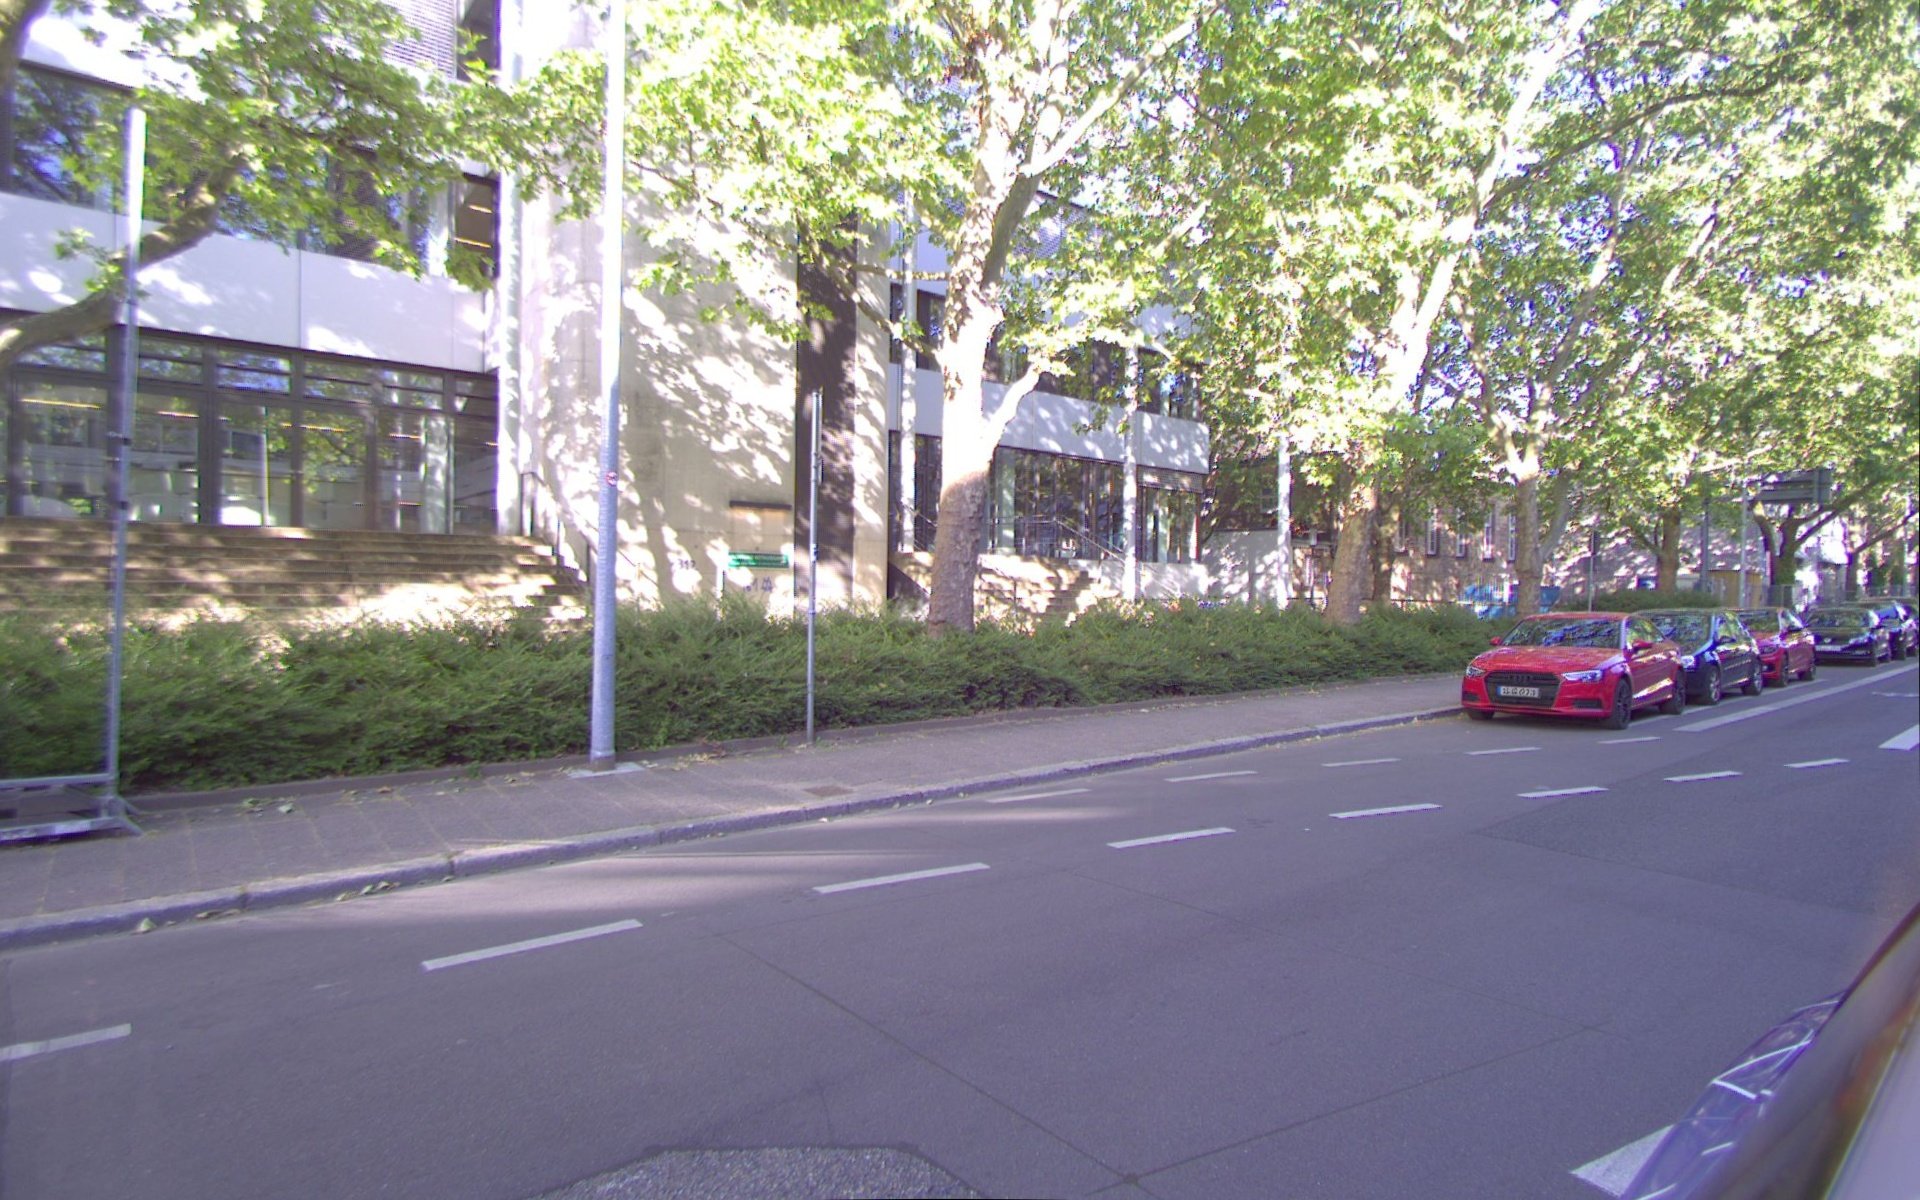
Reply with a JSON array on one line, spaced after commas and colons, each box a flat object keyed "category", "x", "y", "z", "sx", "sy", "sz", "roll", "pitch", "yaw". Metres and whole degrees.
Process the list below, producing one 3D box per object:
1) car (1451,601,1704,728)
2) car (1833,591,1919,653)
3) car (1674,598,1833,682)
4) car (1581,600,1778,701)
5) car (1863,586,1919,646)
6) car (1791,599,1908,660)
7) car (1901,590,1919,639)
[{"category": "car", "x": 8.283, "y": 0.745, "z": 13.456, "sx": 3.930, "sy": 1.427, "sz": 1.753, "roll": 0, "pitch": -1, "yaw": -41}, {"category": "car", "x": 26.720, "y": 0.594, "z": 29.187, "sx": 4.101, "sy": 1.674, "sz": 1.753, "roll": 0, "pitch": -1, "yaw": -41}, {"category": "car", "x": 15.708, "y": 0.727, "z": 19.975, "sx": 3.841, "sy": 1.486, "sz": 1.753, "roll": 0, "pitch": -1, "yaw": -41}, {"category": "car", "x": 11.857, "y": 0.744, "z": 16.599, "sx": 3.841, "sy": 1.451, "sz": 1.753, "roll": 0, "pitch": -1, "yaw": -41}, {"category": "car", "x": 30.977, "y": 0.495, "z": 32.978, "sx": 4.370, "sy": 1.844, "sz": 1.753, "roll": 0, "pitch": -1, "yaw": -41}, {"category": "car", "x": 22.953, "y": 0.723, "z": 26.074, "sx": 3.841, "sy": 1.451, "sz": 1.753, "roll": 0, "pitch": -1, "yaw": -41}, {"category": "car", "x": 36.200, "y": 0.526, "z": 37.274, "sx": 4.370, "sy": 1.750, "sz": 1.753, "roll": 0, "pitch": -1, "yaw": -41}]
